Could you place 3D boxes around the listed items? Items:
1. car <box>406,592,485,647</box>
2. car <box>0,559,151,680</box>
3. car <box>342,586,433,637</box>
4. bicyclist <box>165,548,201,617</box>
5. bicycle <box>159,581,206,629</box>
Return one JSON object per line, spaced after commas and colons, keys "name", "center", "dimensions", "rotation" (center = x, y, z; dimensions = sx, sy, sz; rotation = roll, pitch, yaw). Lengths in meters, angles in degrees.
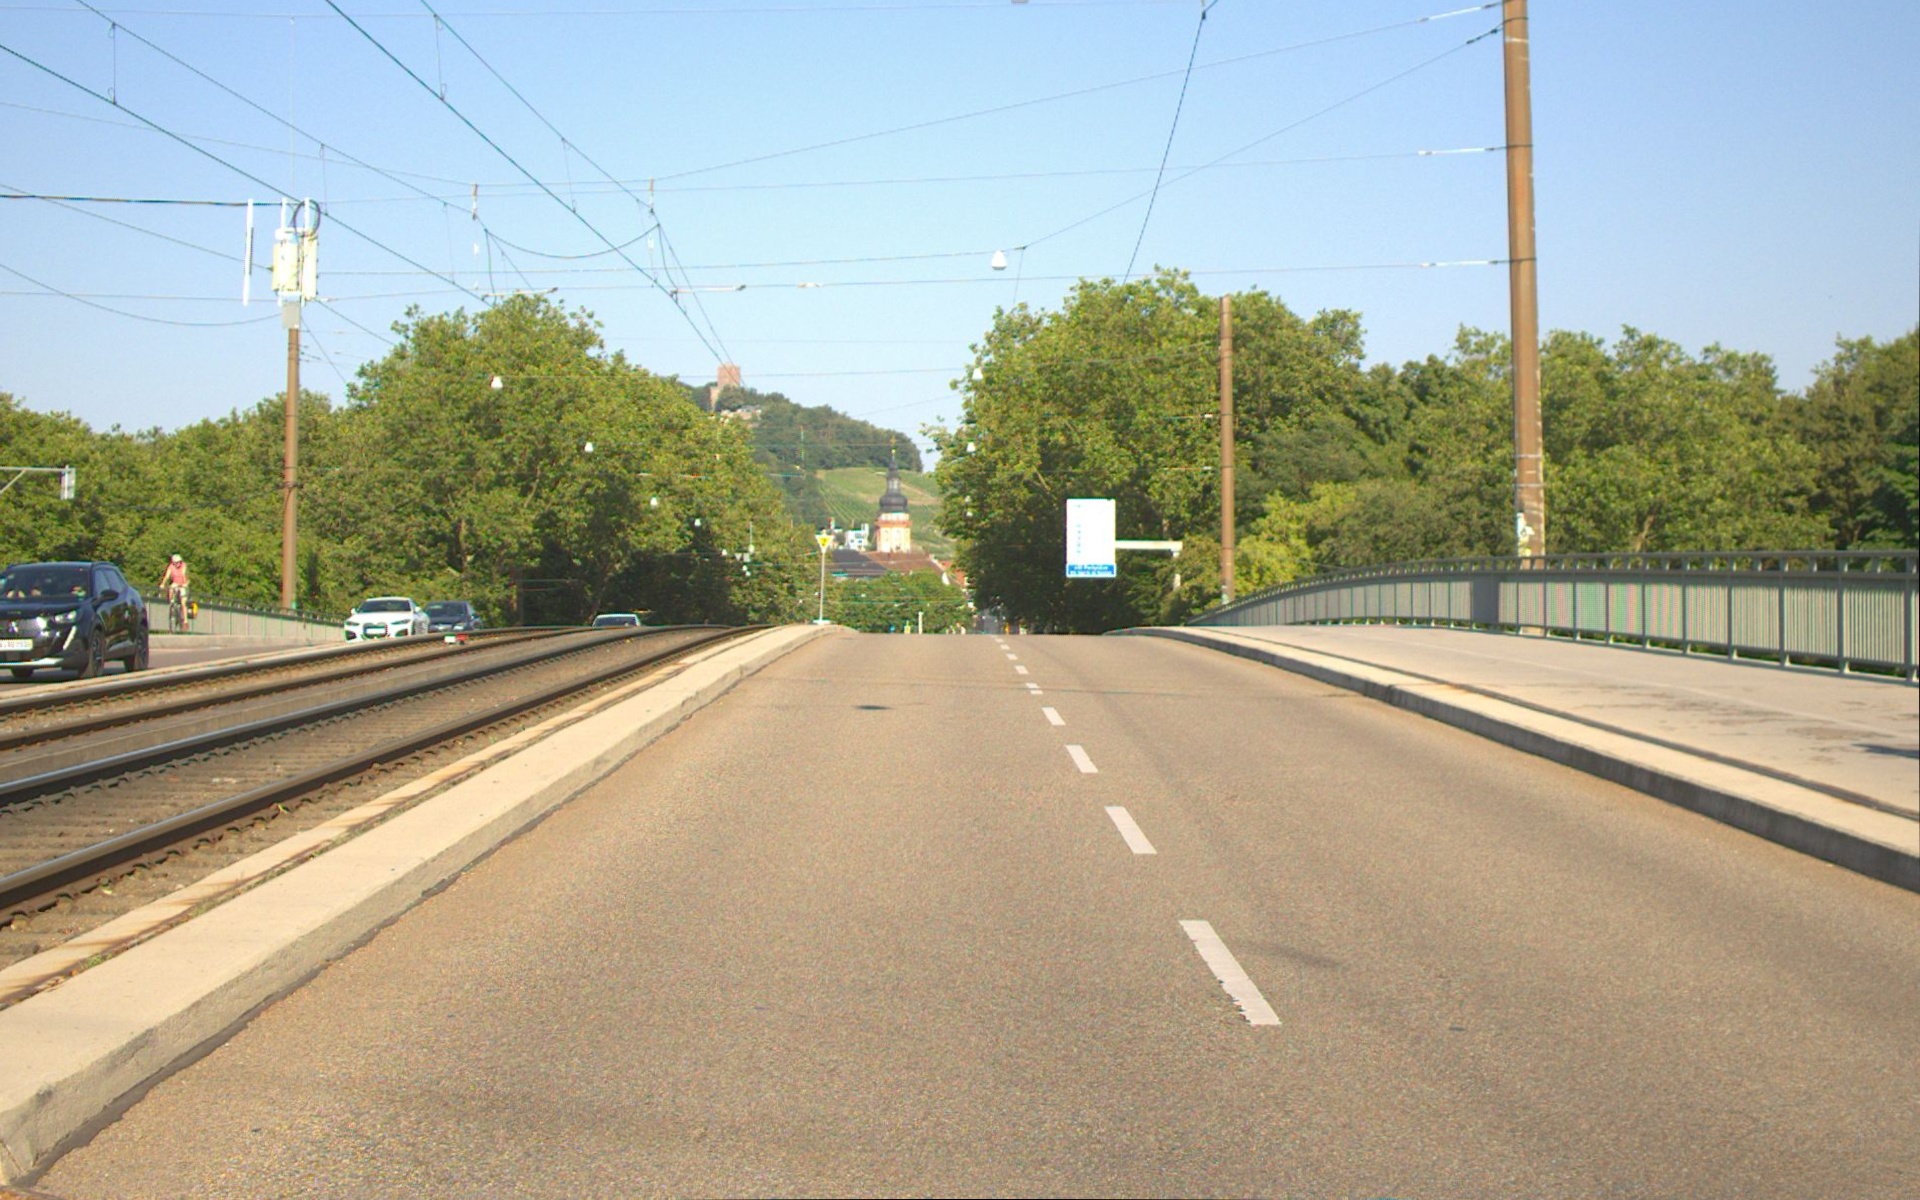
{"name": "car", "center": [-15.714, 0.594, 105.240], "dimensions": [1.779, 1.645, 4.447], "rotation": [0, 0, 0]}
{"name": "car", "center": [-11.935, 0.238, 44.725], "dimensions": [1.849, 1.497, 4.219], "rotation": [0, 0, 0]}
{"name": "car", "center": [-15.556, 0.305, 93.641], "dimensions": [1.684, 1.352, 4.920], "rotation": [0, 0, 0]}
{"name": "bicyclist", "center": [-18.440, -0.417, 81.597], "dimensions": [0.625, 1.627, 0.935], "rotation": [0, 0, -1]}
{"name": "bicycle", "center": [-18.444, 0.125, 81.612], "dimensions": [0.625, 1.119, 2.260], "rotation": [0, 0, -1]}
